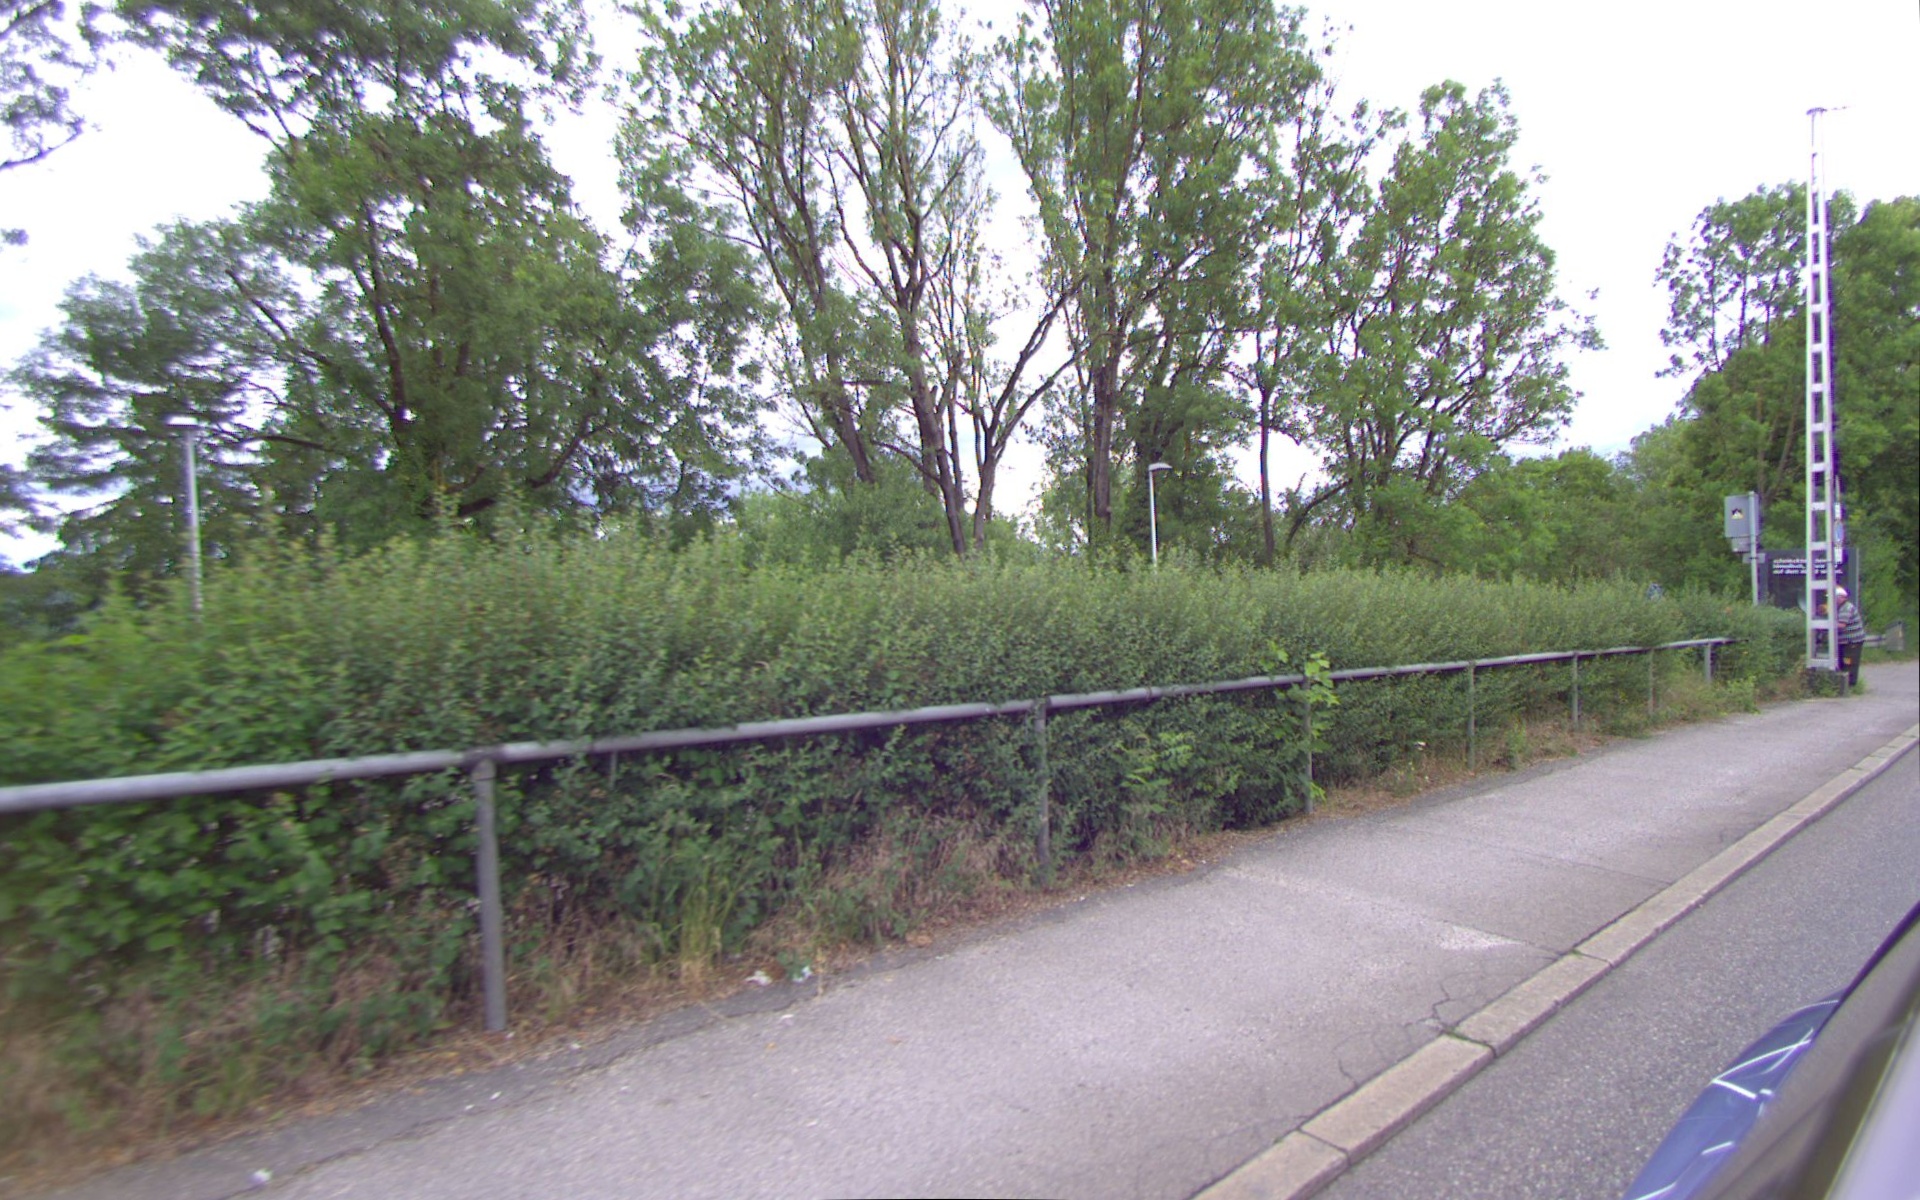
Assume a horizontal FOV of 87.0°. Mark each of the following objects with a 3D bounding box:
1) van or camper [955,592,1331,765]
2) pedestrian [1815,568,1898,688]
[{"bbox_3d":[3.116,1.112,16.632,6.055,2.359,2.226,0,1,-30],"label":"van or camper"},{"bbox_3d":[14.806,0.439,16.723,0.931,1.908,0.814,1,1,-36],"label":"pedestrian"}]
